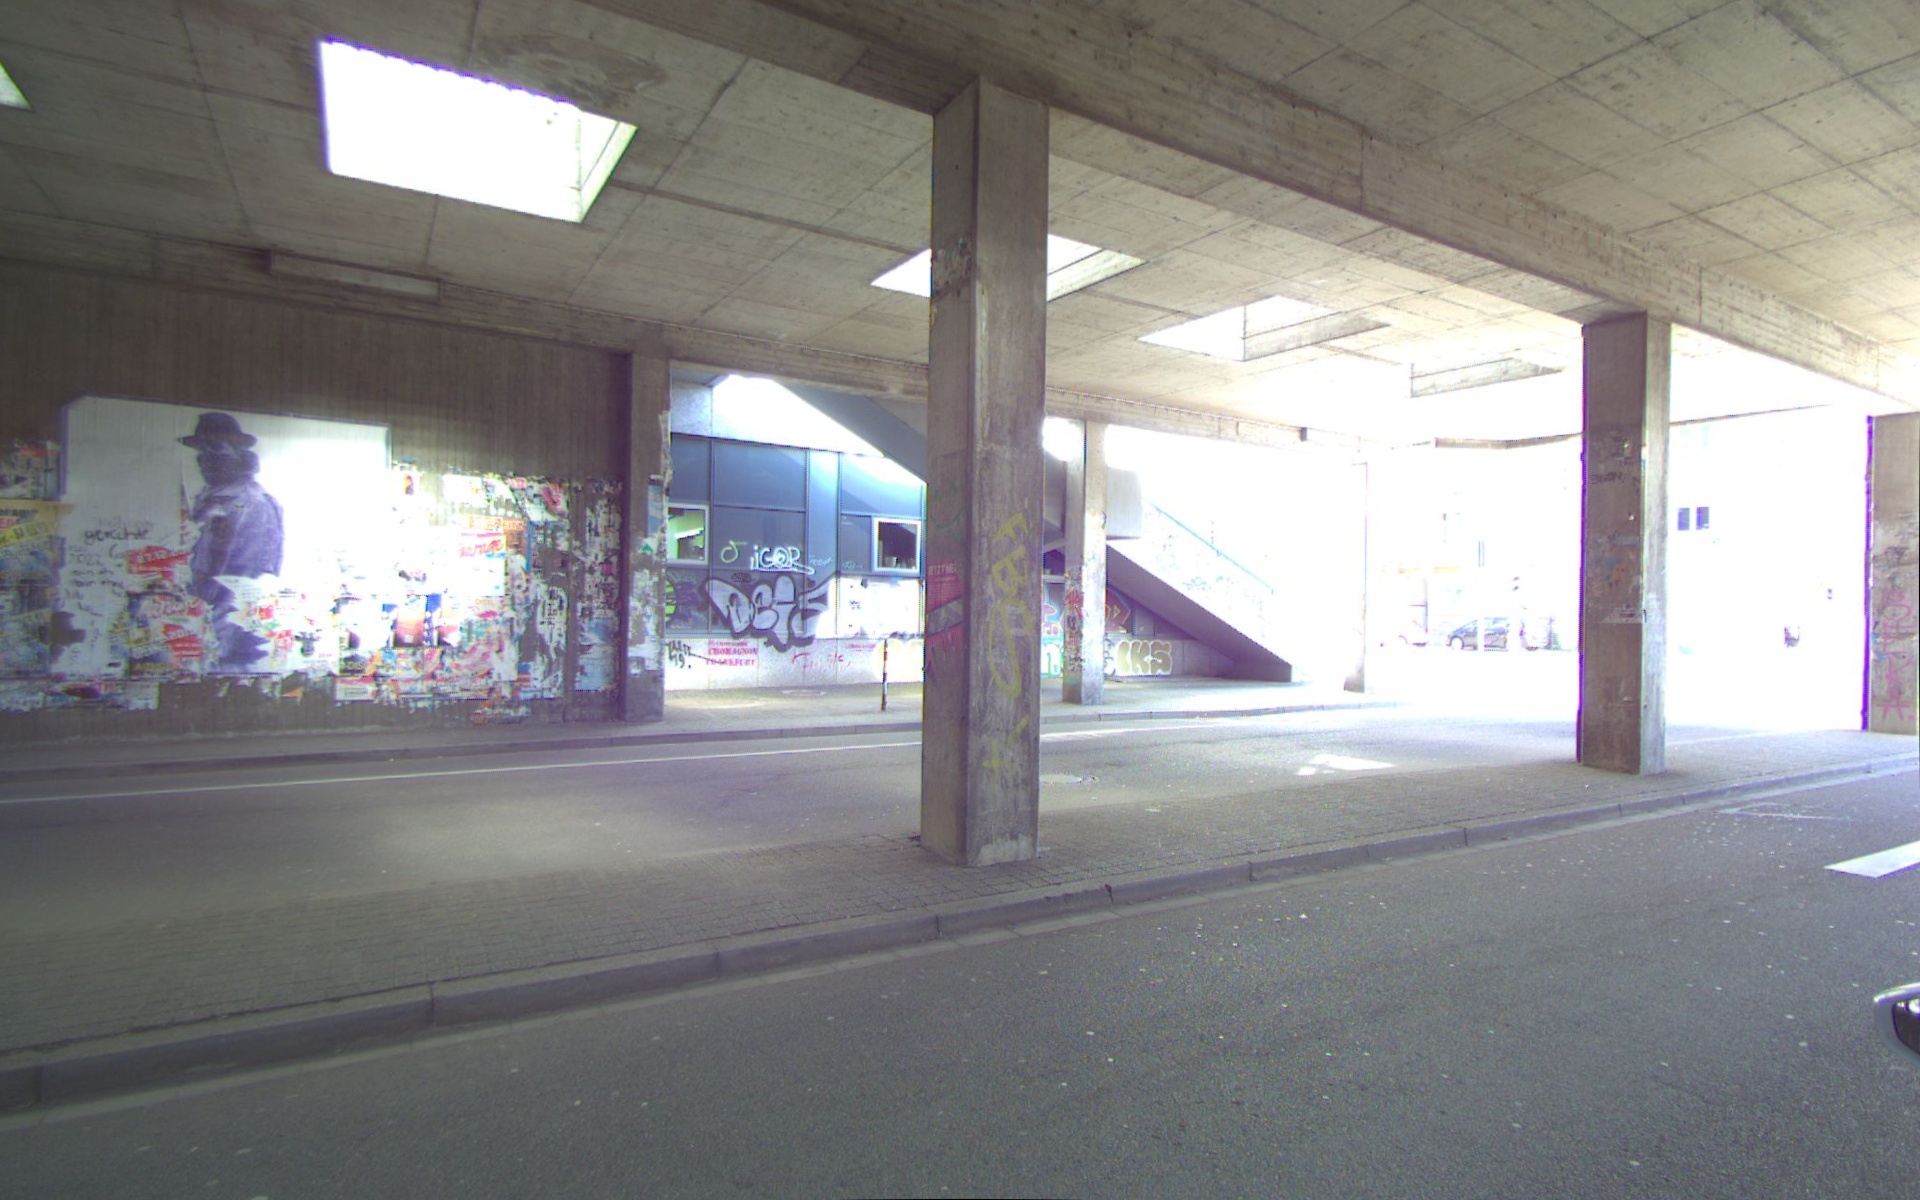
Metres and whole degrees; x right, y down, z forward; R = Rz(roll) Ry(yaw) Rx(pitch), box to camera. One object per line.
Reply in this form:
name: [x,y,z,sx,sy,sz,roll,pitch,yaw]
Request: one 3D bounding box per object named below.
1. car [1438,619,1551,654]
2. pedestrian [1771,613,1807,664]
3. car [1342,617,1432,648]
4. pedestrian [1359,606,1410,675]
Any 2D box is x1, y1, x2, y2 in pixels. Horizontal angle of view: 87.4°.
car: [25.336,1.713,47.720,1.905,1.428,4.382,2,0,-32]
pedestrian: [27.457,1.276,33.257,0.732,1.659,0.669,2,0,-30]
car: [22.345,1.696,52.694,1.905,1.428,3.965,2,0,-32]
pedestrian: [11.381,1.082,26.926,0.784,1.785,0.925,2,0,-28]
